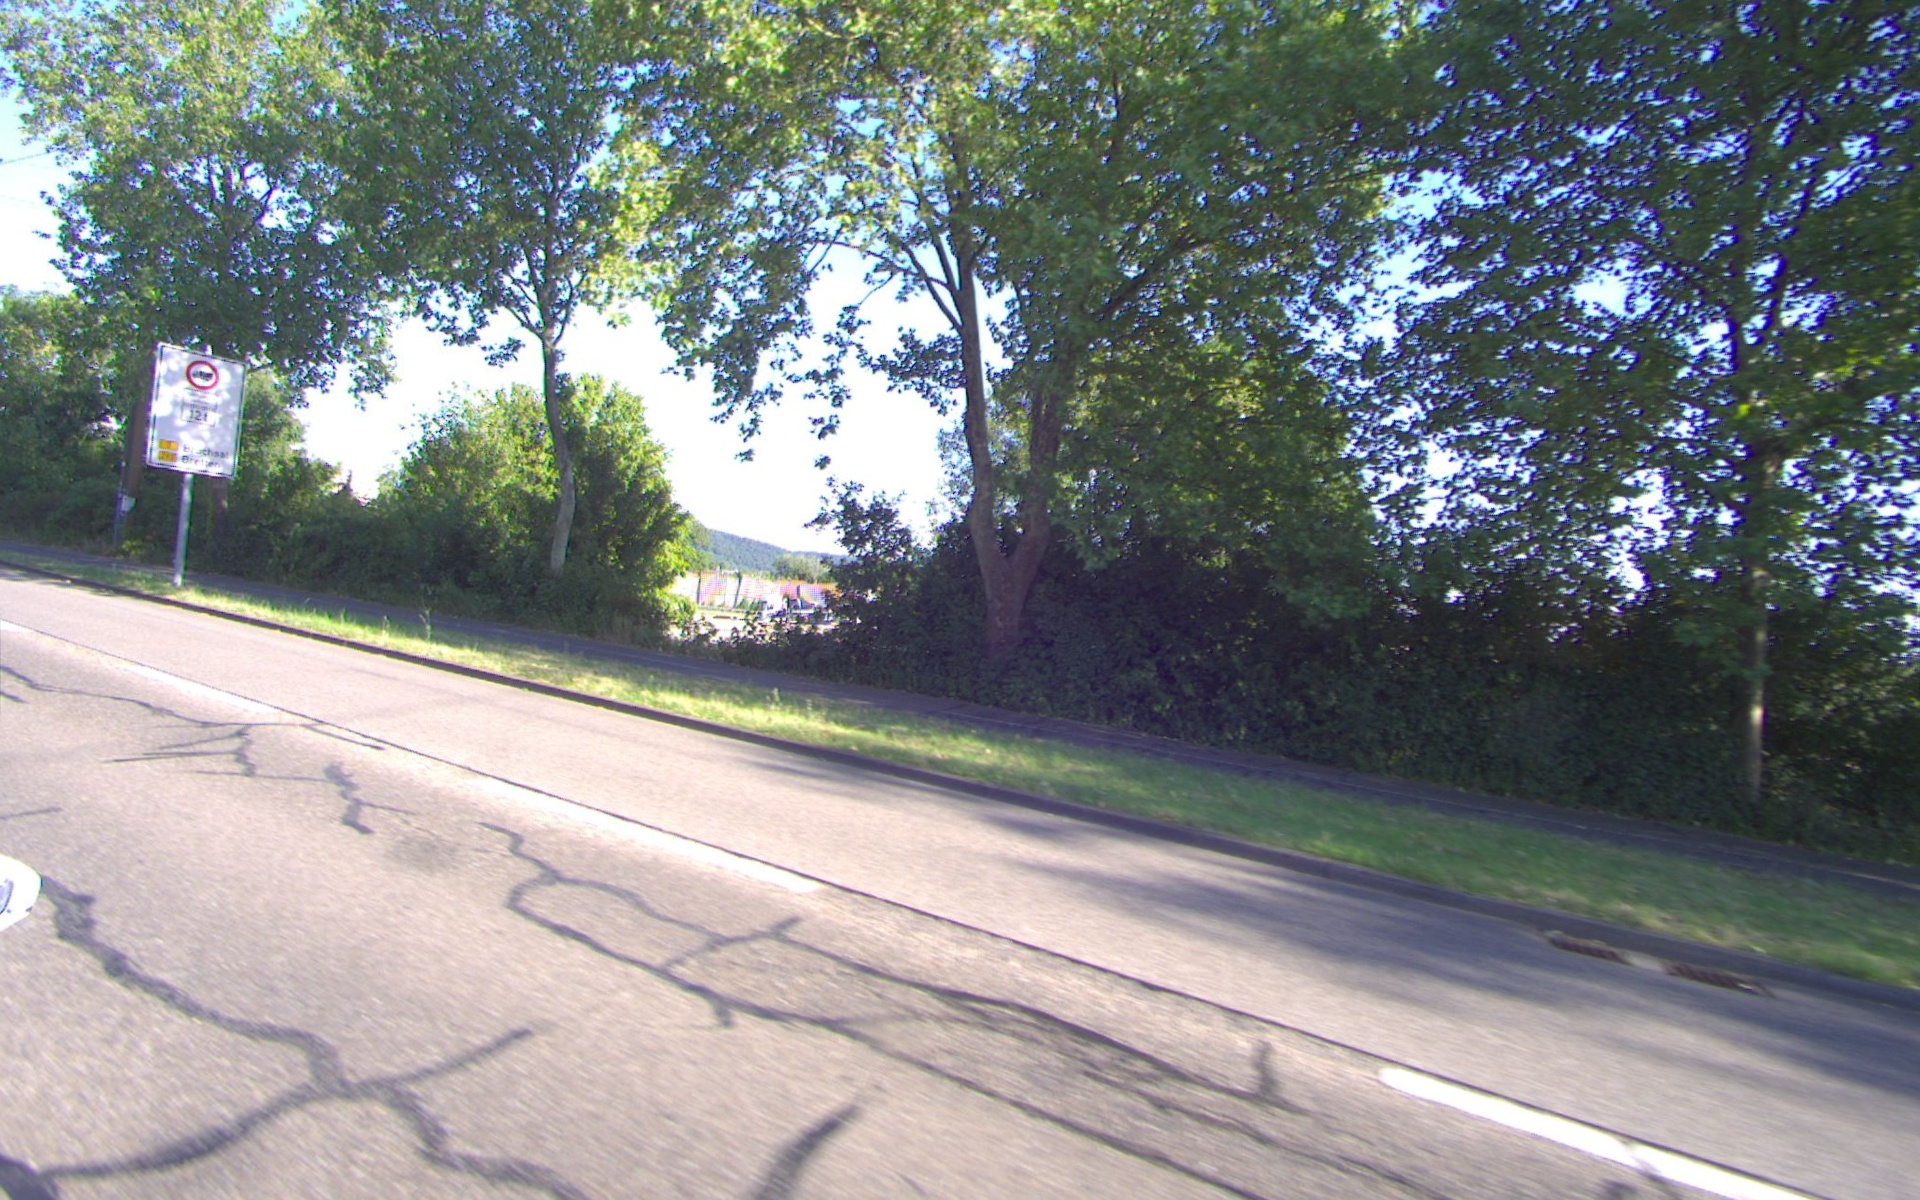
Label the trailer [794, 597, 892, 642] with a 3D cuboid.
[{"bbox_3d":[-14.324,2.442,123.570,11.271,3.882,3.114,9,-2,-27],"label":"trailer"}]

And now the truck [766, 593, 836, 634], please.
[{"bbox_3d":[-19.125,1.590,121.053,7.258,3.883,3.114,9,-2,-27],"label":"truck"}]
